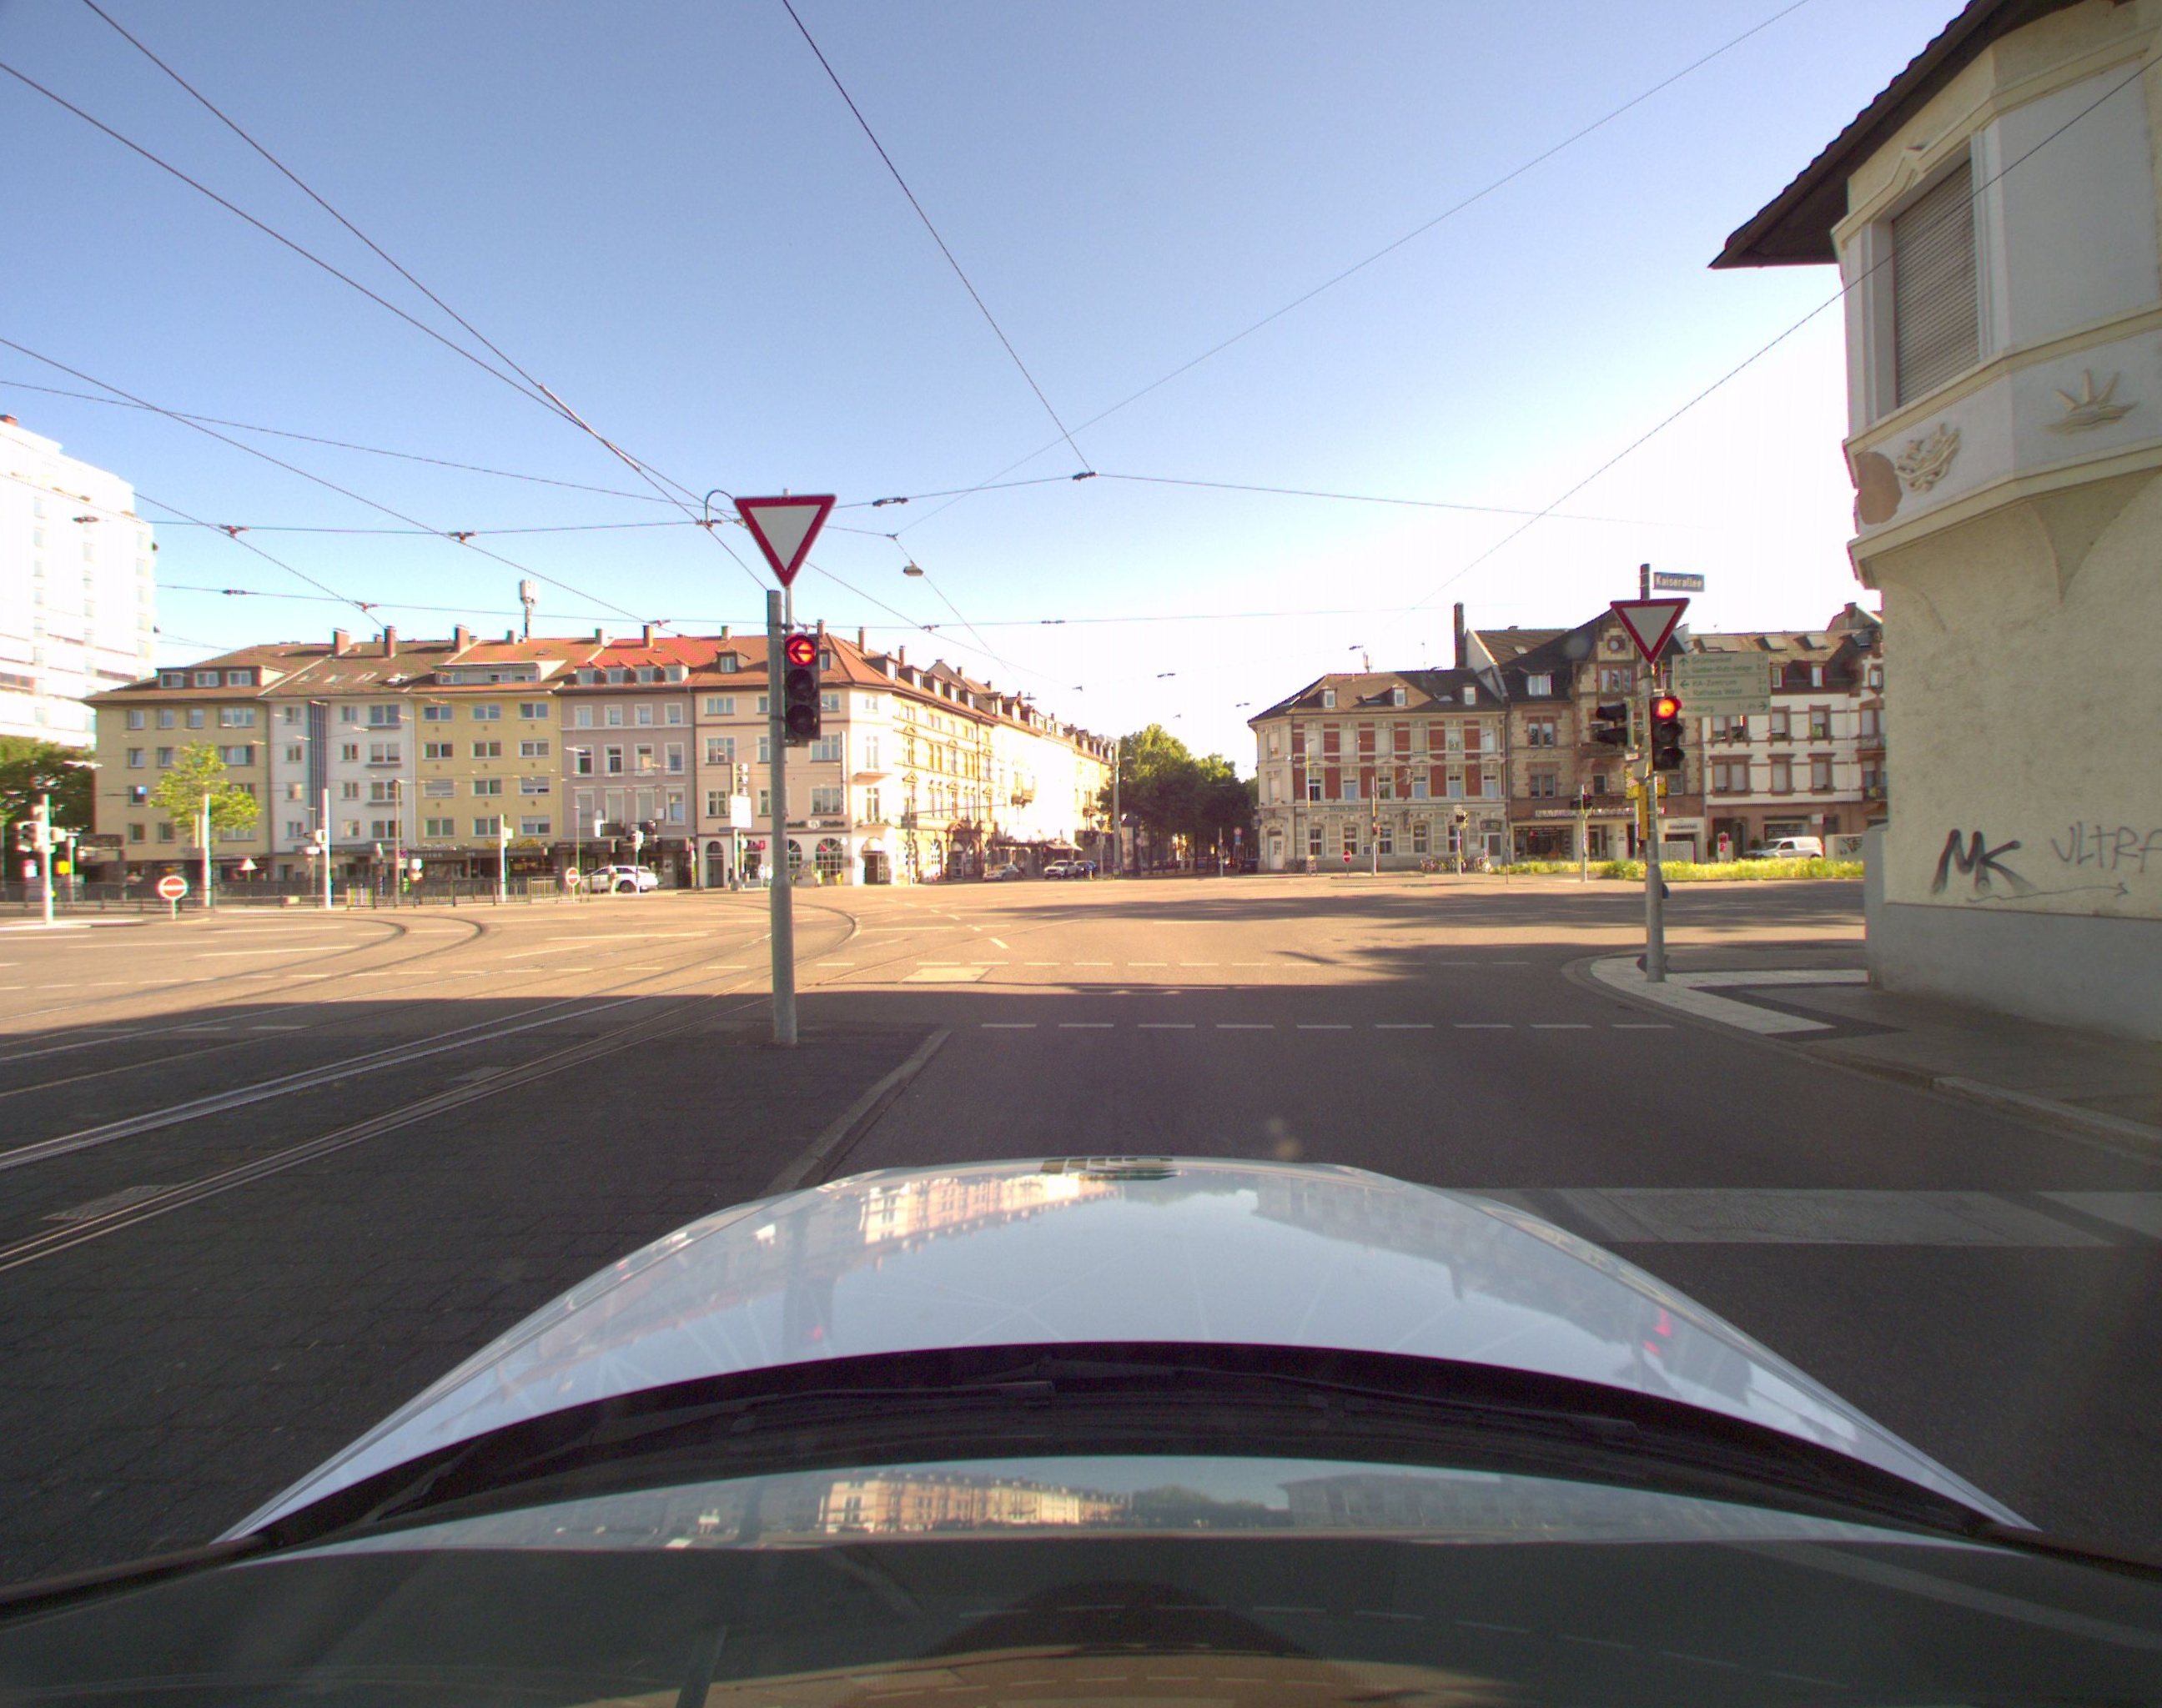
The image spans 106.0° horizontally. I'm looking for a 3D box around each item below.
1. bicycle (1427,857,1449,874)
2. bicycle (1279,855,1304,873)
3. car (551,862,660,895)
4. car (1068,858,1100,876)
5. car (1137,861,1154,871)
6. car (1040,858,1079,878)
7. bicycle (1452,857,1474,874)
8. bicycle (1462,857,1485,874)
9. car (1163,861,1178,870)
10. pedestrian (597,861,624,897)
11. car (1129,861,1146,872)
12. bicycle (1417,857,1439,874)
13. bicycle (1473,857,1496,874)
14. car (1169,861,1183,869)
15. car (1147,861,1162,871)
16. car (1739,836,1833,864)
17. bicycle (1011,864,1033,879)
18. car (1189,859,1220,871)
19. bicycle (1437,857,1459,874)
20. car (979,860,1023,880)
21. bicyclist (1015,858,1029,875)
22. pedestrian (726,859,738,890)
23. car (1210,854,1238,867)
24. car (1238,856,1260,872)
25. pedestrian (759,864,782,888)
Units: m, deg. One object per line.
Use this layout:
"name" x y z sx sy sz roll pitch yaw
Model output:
"bicycle" 23.154 0.739 52.865 0.603 1.051 1.641 -1 0 -3
"bicycle" 14.701 0.694 56.935 1.625 1.222 0.609 -1 0 18
"car" -26.623 1.359 45.723 4.832 1.660 2.000 -1 0 -1
"car" 0.296 1.153 73.688 1.979 1.513 4.015 -1 0 14
"car" 9.182 1.689 115.768 1.729 1.397 4.137 1 0 12
"car" -1.725 1.164 67.365 2.080 1.499 4.017 -1 0 16
"bicycle" 24.644 0.725 52.565 0.603 1.051 1.641 -1 0 -3
"bicycle" 25.320 0.721 52.615 0.603 1.051 1.641 -1 0 -3
"car" 14.447 1.814 131.452 1.728 1.397 4.141 1 0 16
"pedestrian" -24.565 1.310 42.552 0.871 1.818 0.811 -1 0 2
"car" 7.608 1.653 109.998 1.729 1.397 4.137 1 0 12
"bicycle" 22.501 0.743 52.835 0.603 1.051 1.641 -1 0 -3
"bicycle" 26.058 0.715 52.607 0.603 1.051 1.641 -1 0 -3
"car" 15.870 1.838 136.199 1.728 1.397 4.141 1 0 16
"car" 11.069 1.731 122.705 1.729 1.397 4.137 1 0 12
"car" 45.390 -0.226 52.467 4.356 1.654 1.999 -1 0 -2
"bicycle" -4.764 1.432 65.895 0.745 1.135 2.821 -1 0 16
"car" 17.492 1.529 114.988 4.078 1.646 1.754 1 0 17
"bicycle" 23.818 0.734 52.865 0.603 1.051 1.641 -1 0 -3
"car" -6.593 1.305 67.695 2.080 1.545 4.382 -1 0 16
"bicyclist" -4.761 0.988 65.866 0.787 1.375 1.113 -1 0 16
"pedestrian" -22.773 1.357 53.118 0.506 2.013 0.505 -1 0 5
"car" 23.378 1.090 133.067 4.074 1.919 1.756 1 0 23
"car" 16.911 0.995 82.047 1.637 1.524 3.772 -2 -1 20
"pedestrian" -20.913 1.494 54.876 1.060 1.591 1.043 -1 0 4
